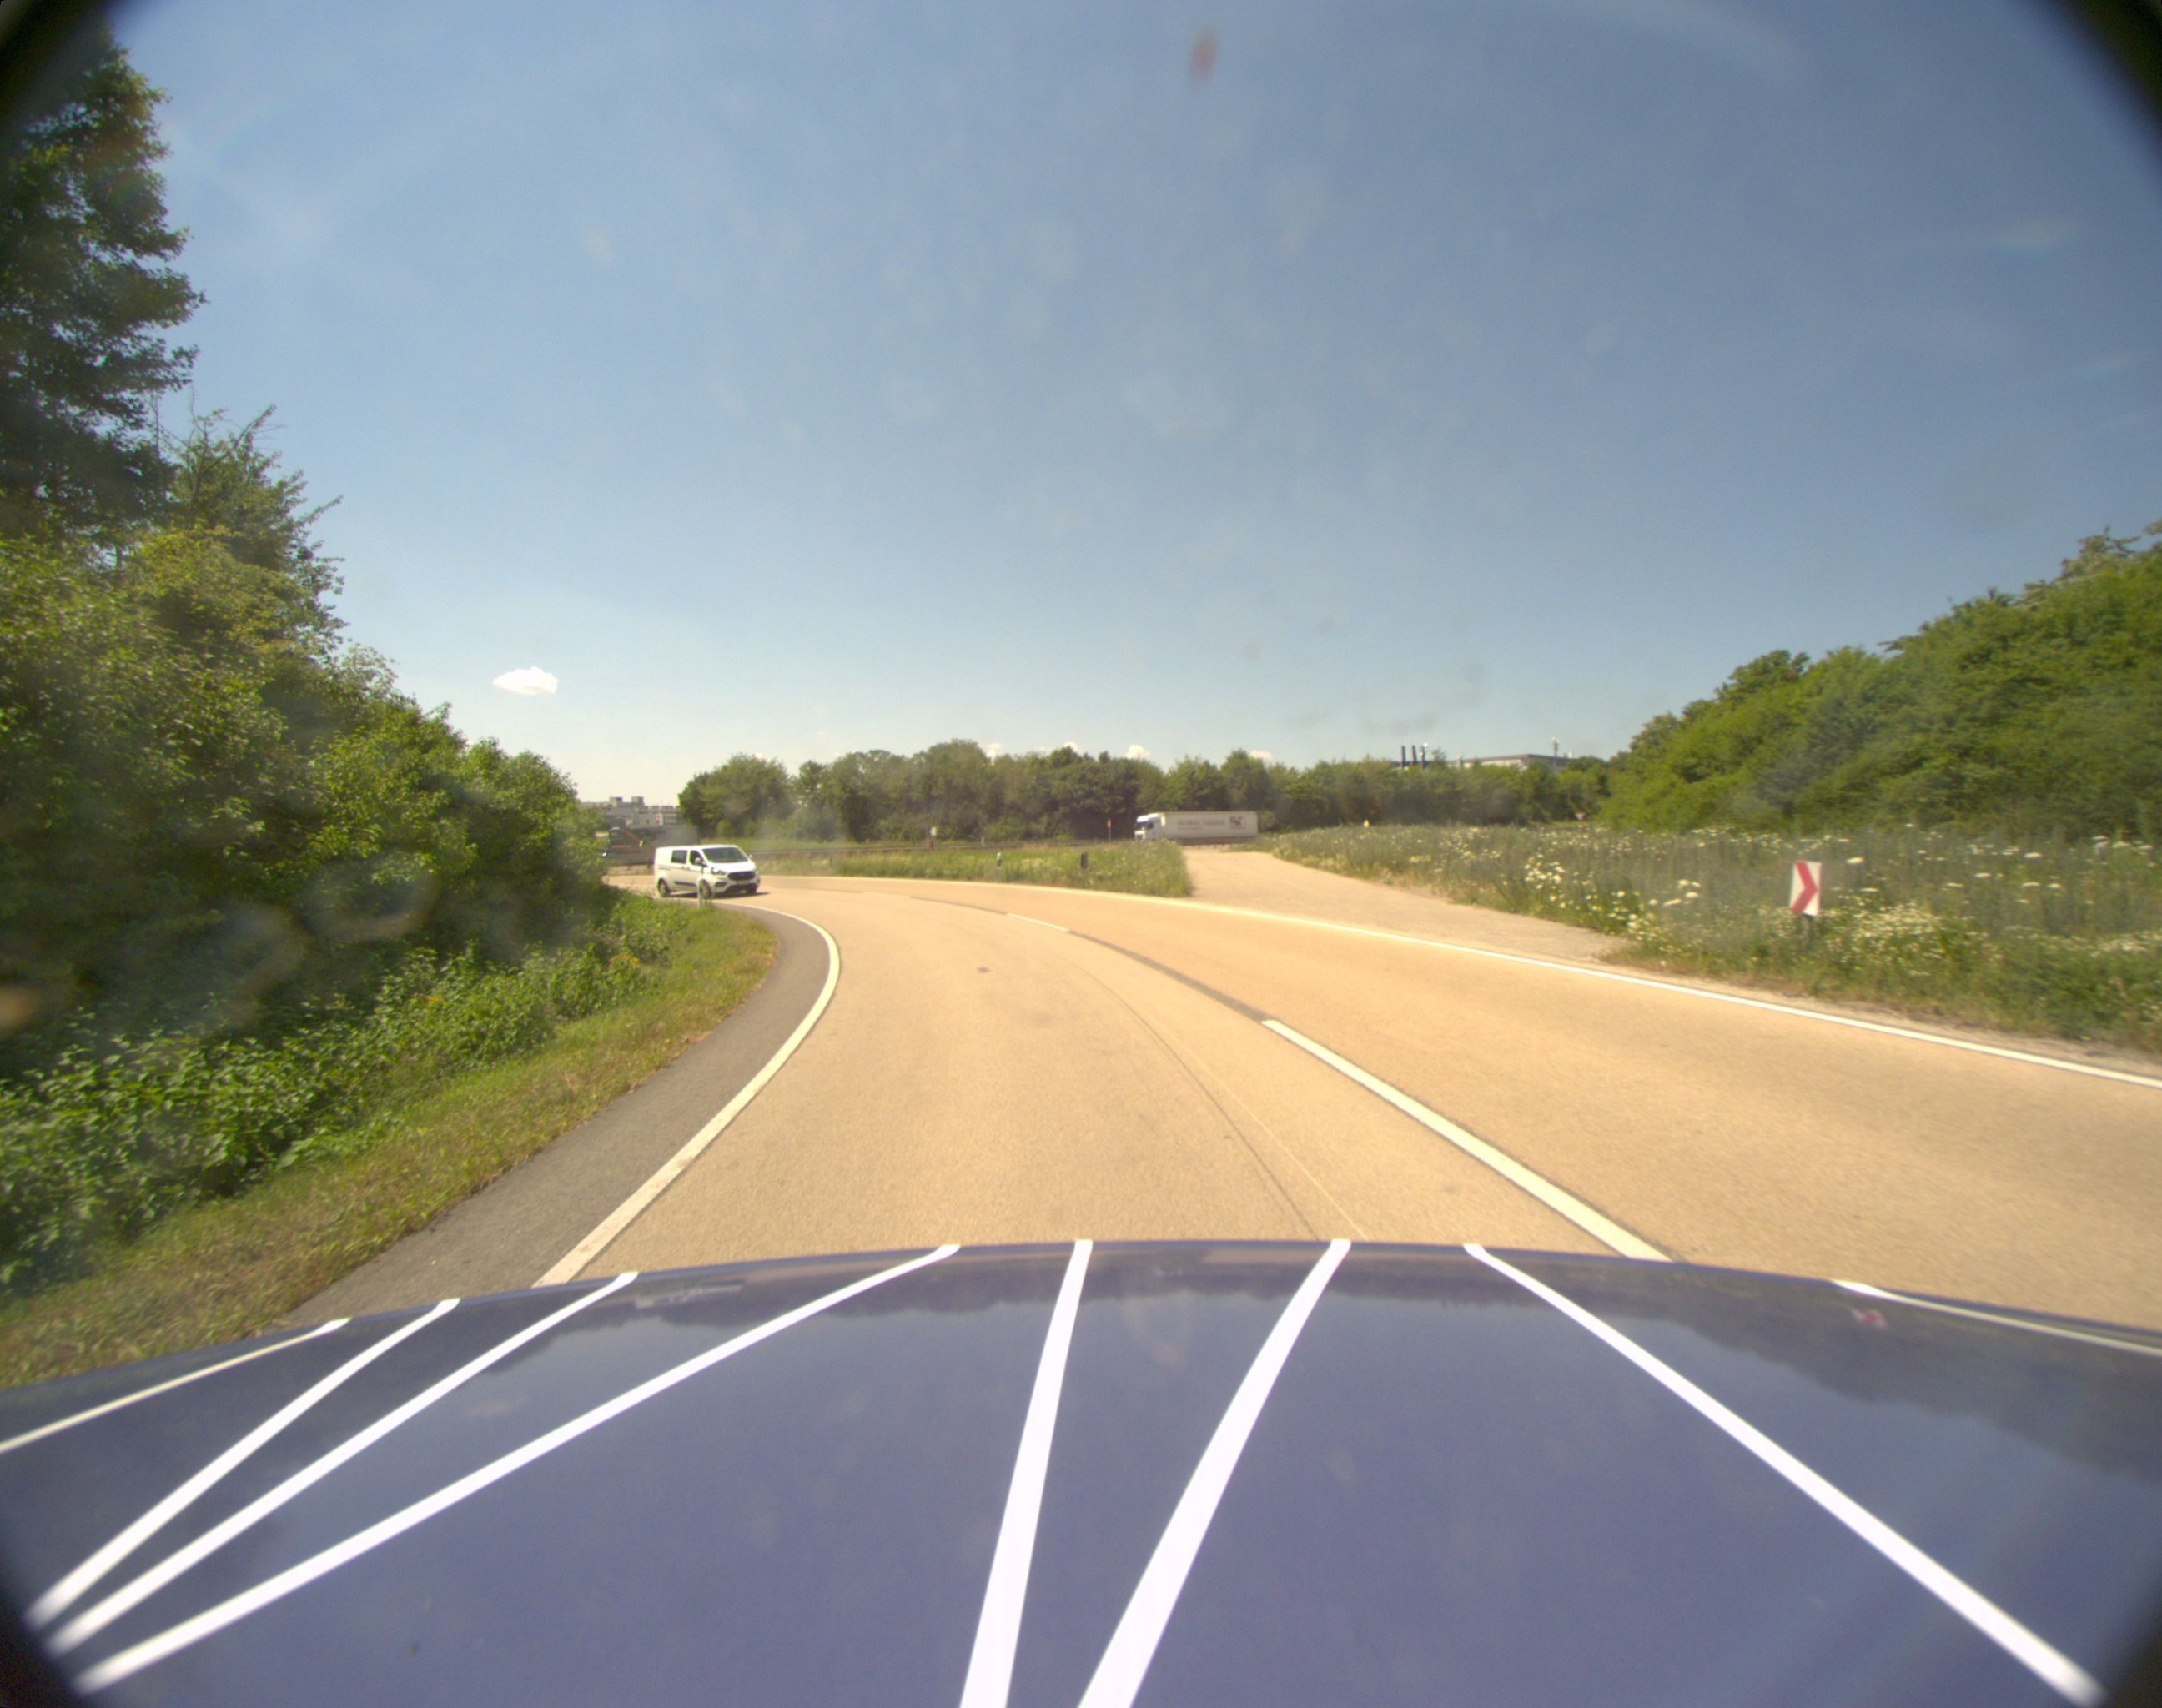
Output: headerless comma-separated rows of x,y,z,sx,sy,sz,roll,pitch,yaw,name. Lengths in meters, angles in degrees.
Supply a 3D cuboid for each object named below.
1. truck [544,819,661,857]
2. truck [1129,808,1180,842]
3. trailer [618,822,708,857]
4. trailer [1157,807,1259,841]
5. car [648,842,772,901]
-41.660,-1.449,66.478,8.213,3.045,2.597,-2,2,-22,truck
8.937,-3.482,92.406,5.424,3.918,2.915,-3,2,-25,truck
-40.646,-1.462,74.155,7.228,2.993,2.300,-3,3,-22,trailer
16.071,-3.807,95.736,13.291,3.918,2.914,-3,2,-25,trailer
-14.606,0.629,29.816,5.026,2.003,2.066,0,5,36,car
